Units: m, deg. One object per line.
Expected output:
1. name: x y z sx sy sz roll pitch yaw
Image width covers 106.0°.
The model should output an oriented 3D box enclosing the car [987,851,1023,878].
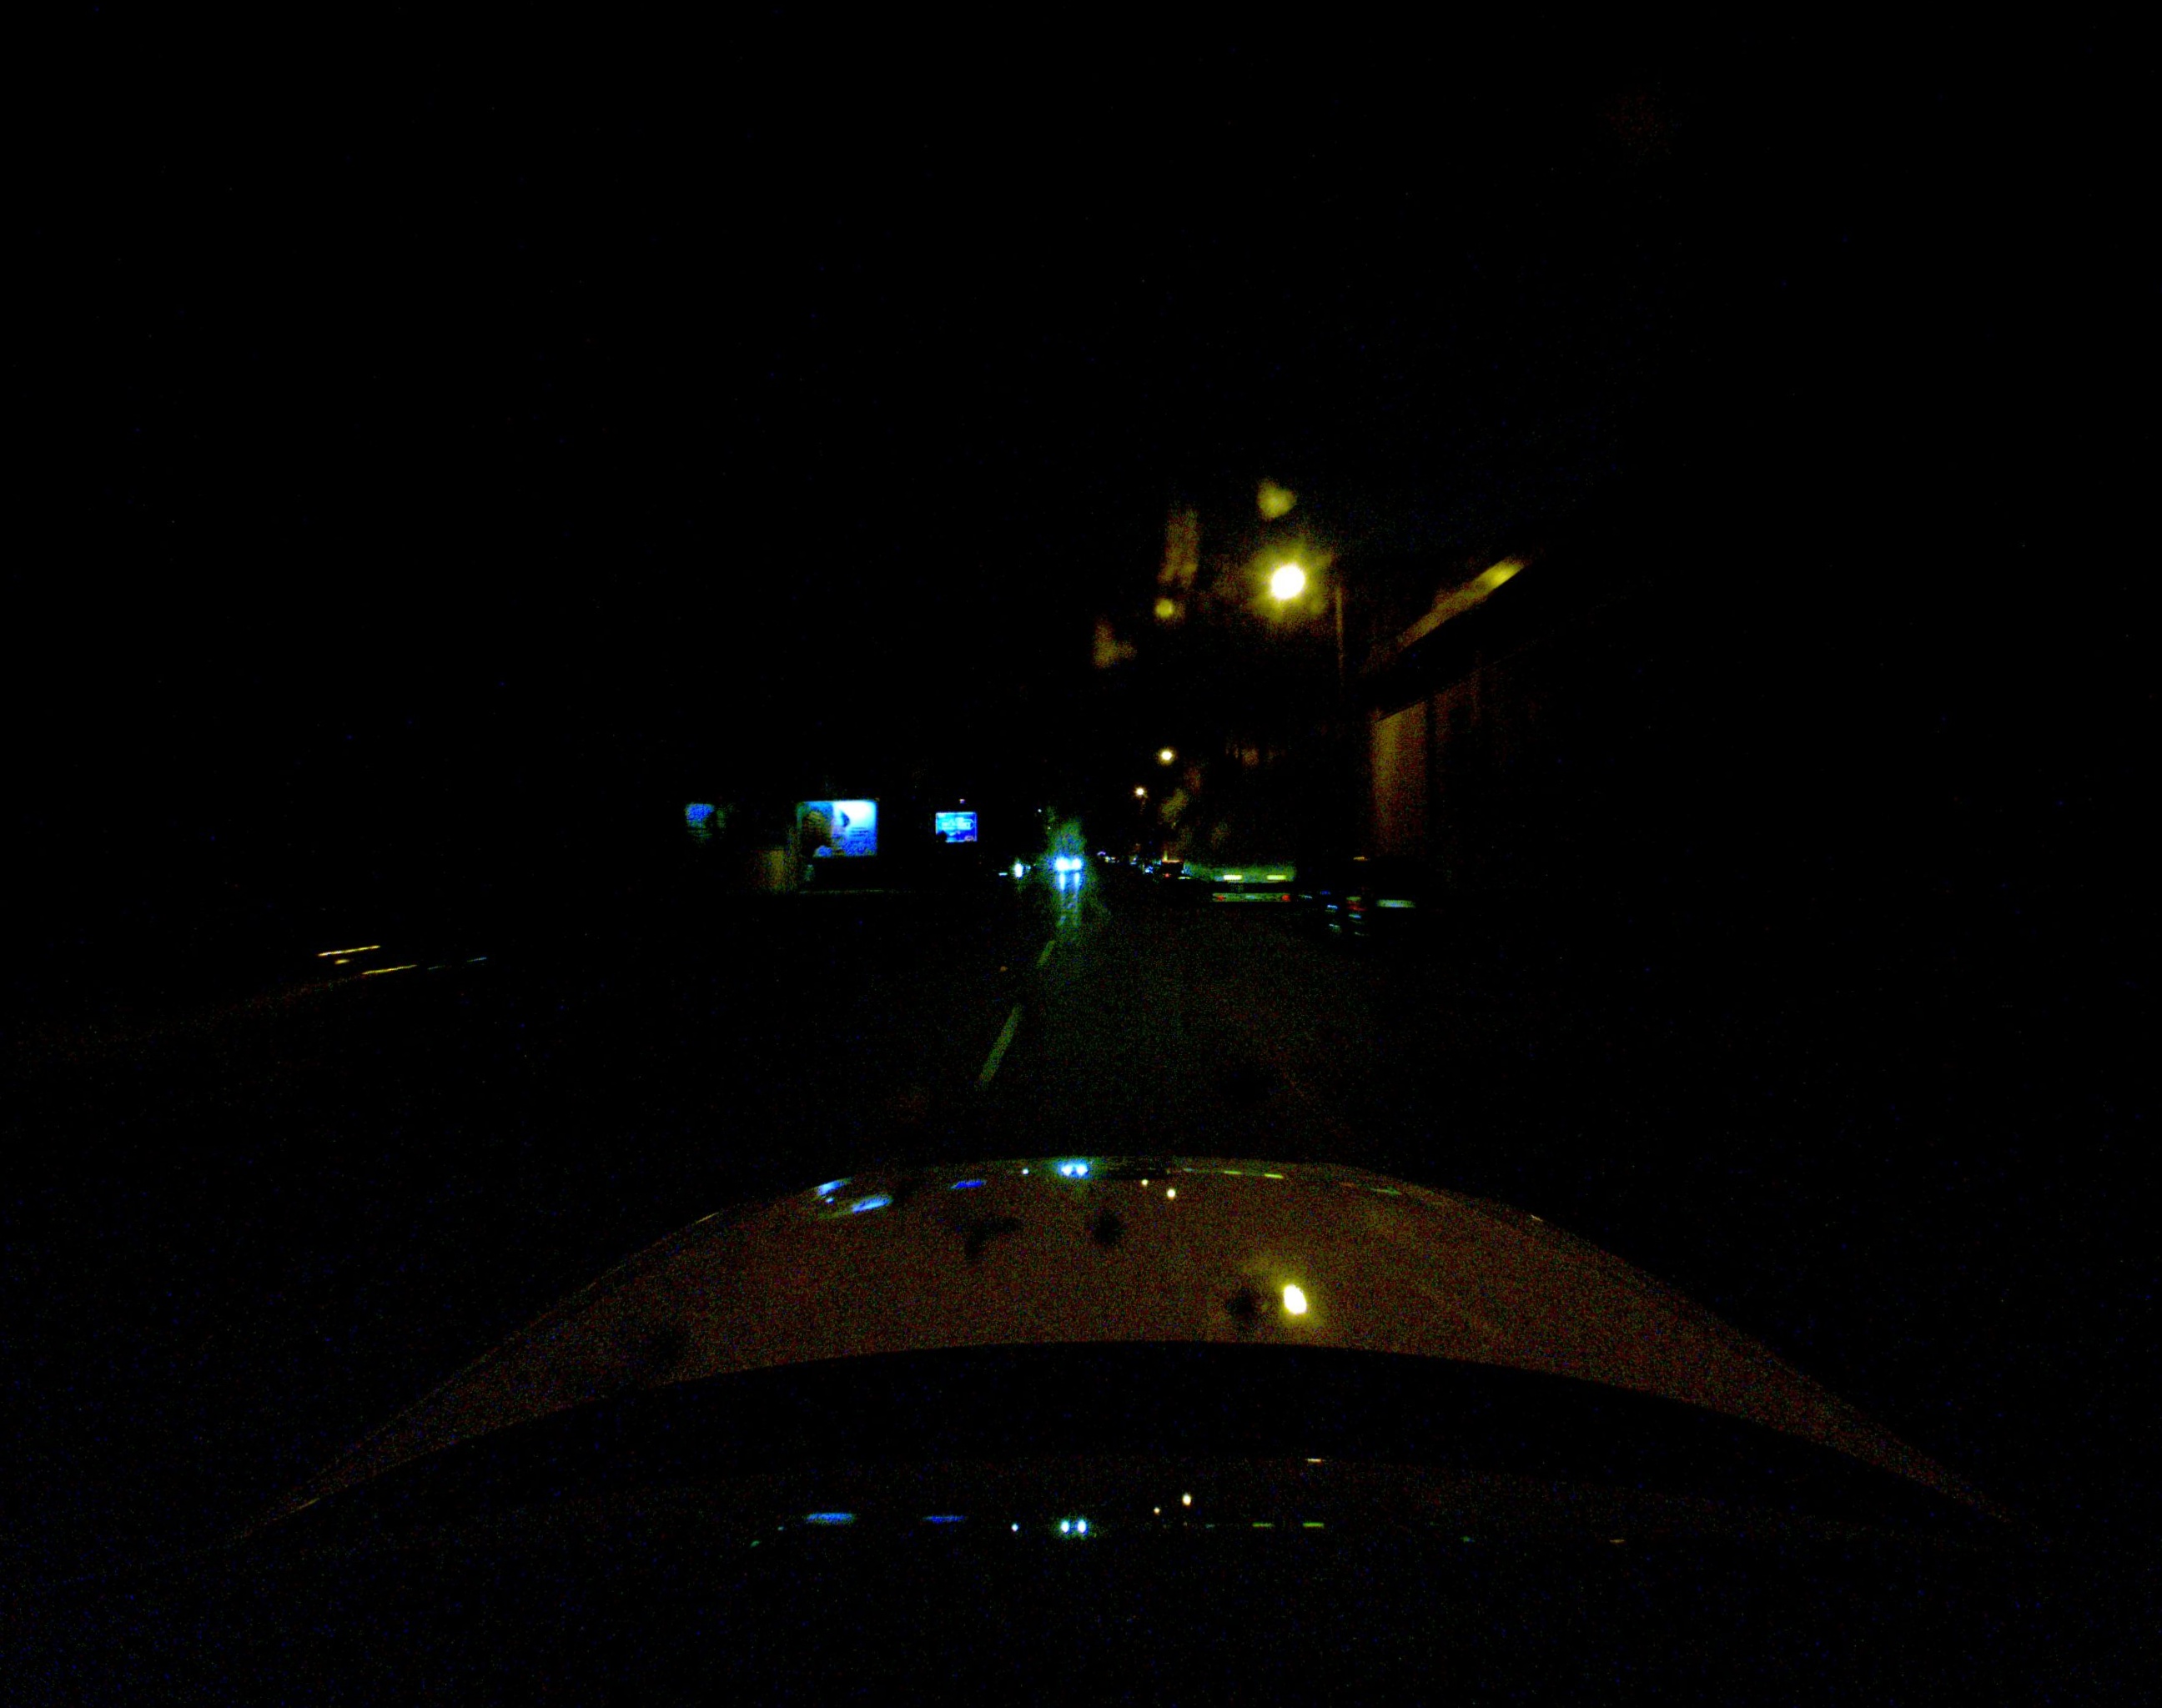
1. car: -5.328 0.703 57.439 1.986 1.794 4.001 -1 0 1

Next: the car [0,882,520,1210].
1. car: -5.956 0.978 5.238 1.834 1.420 4.001 -1 0 1

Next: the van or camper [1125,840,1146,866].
1. van or camper: 5.591 -0.139 84.629 1.986 2.581 4.917 -1 0 2

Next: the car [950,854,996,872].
1. car: -10.547 0.861 79.630 4.007 1.595 1.983 -2 -1 -25

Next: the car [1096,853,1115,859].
1. car: 6.127 0.612 200.052 4.510 1.379 2.002 -1 -1 4

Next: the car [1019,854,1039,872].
1. car: -5.280 0.941 83.368 1.893 1.736 4.350 -1 0 -3

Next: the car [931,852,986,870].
1. car: -11.134 0.652 74.218 4.631 1.485 1.986 -1 0 -22

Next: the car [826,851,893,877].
1. car: -14.883 0.648 54.909 3.976 1.651 1.999 -1 0 -2

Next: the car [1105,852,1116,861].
1. car: 5.684 0.423 155.511 1.986 1.684 4.001 -1 0 1

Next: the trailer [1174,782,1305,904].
1. trailer: 5.017 -0.286 27.357 2.679 3.464 7.805 -1 -1 -1

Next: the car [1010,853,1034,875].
1. car: -4.925 0.840 68.326 1.673 1.736 4.354 -1 0 -1

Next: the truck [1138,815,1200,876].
1. truck: 5.371 -0.463 50.828 3.140 3.463 6.674 -3 -1 1

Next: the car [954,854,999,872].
1. car: -10.590 0.897 82.591 4.007 1.595 1.983 -2 -1 -25

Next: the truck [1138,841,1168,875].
1. truck: 5.526 0.298 62.990 1.986 2.407 5.294 -1 0 1

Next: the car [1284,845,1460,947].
1. car: 5.023 0.676 14.652 1.846 1.519 3.819 -3 -1 2

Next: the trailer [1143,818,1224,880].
1. trailer: 5.227 -0.171 43.682 3.173 2.749 10.717 -3 -1 1

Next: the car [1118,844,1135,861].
1. car: 5.884 -0.185 105.137 1.986 2.145 4.001 -1 0 1

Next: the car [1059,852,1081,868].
1. car: -1.062 0.578 79.188 1.986 1.398 4.001 -1 0 1

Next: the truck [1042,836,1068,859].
1. truck: -4.336 -1.101 134.820 3.883 3.621 8.248 -1 0 -4
